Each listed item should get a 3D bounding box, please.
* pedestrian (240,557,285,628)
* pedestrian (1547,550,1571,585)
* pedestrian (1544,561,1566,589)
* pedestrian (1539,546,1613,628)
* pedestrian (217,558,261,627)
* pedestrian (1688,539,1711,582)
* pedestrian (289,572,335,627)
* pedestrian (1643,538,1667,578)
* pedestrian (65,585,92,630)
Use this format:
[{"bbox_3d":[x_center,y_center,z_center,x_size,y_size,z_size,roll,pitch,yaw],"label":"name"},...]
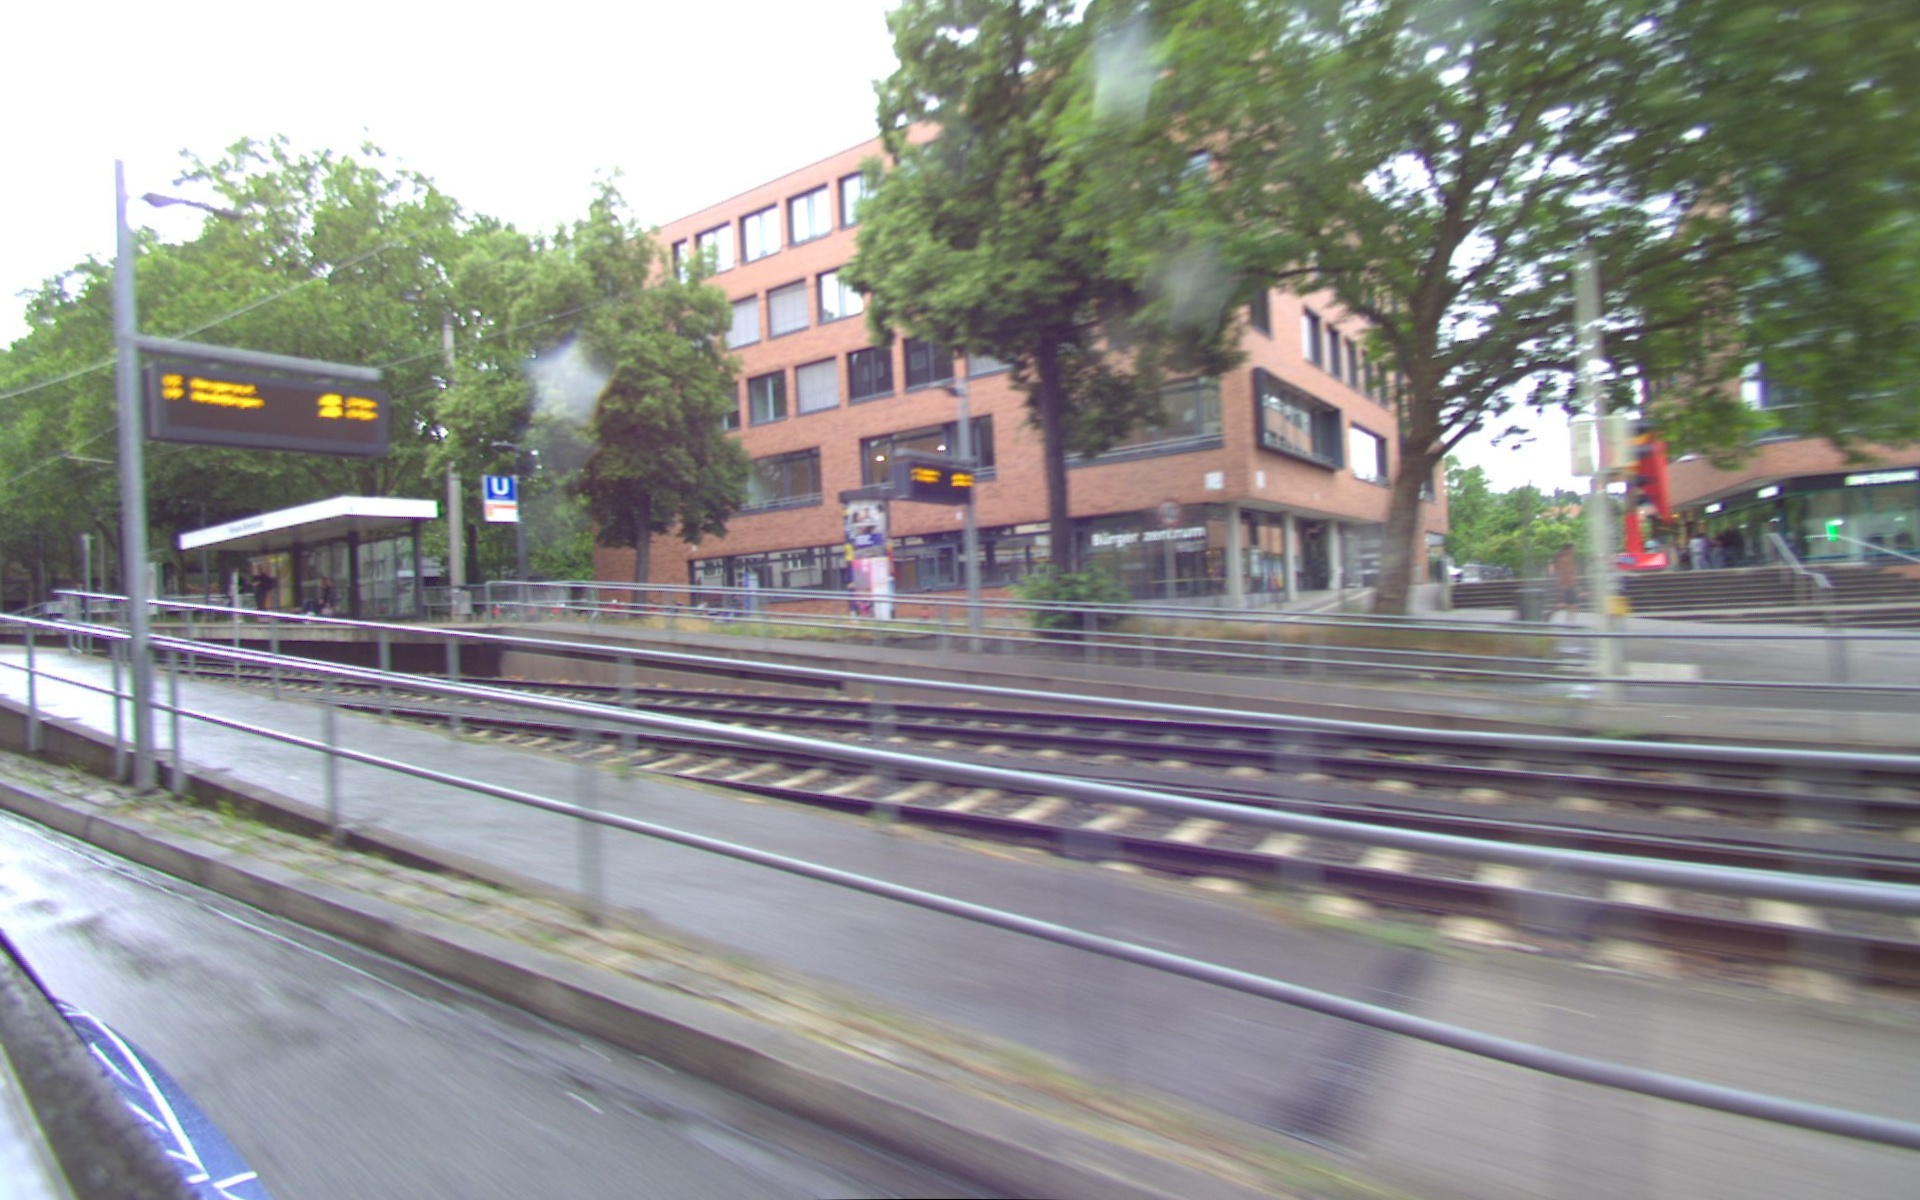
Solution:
[{"bbox_3d":[-20.929,-0.216,30.377,0.881,2.078,0.828,-1,-1,31],"label":"pedestrian"},{"bbox_3d":[28.032,-1.512,47.353,0.615,1.562,0.719,0,-1,-27],"label":"pedestrian"},{"bbox_3d":[33.759,-1.425,57.417,0.841,1.542,0.731,0,-1,-30],"label":"pedestrian"},{"bbox_3d":[13.590,-0.302,22.346,0.779,1.757,1.073,-1,3,-21],"label":"pedestrian"},{"bbox_3d":[-22.064,-0.232,30.976,0.881,2.078,0.828,-1,-1,31],"label":"pedestrian"},{"bbox_3d":[30.862,-1.654,42.236,0.645,1.743,0.613,-1,0,28],"label":"pedestrian"},{"bbox_3d":[-18.051,-0.007,28.210,0.881,1.494,0.773,-1,-1,31],"label":"pedestrian"},{"bbox_3d":[30.660,-1.836,44.672,0.723,1.743,0.643,-1,0,22],"label":"pedestrian"},{"bbox_3d":[-35.465,0.315,40.702,0.702,1.804,0.669,-1,-1,35],"label":"pedestrian"}]
